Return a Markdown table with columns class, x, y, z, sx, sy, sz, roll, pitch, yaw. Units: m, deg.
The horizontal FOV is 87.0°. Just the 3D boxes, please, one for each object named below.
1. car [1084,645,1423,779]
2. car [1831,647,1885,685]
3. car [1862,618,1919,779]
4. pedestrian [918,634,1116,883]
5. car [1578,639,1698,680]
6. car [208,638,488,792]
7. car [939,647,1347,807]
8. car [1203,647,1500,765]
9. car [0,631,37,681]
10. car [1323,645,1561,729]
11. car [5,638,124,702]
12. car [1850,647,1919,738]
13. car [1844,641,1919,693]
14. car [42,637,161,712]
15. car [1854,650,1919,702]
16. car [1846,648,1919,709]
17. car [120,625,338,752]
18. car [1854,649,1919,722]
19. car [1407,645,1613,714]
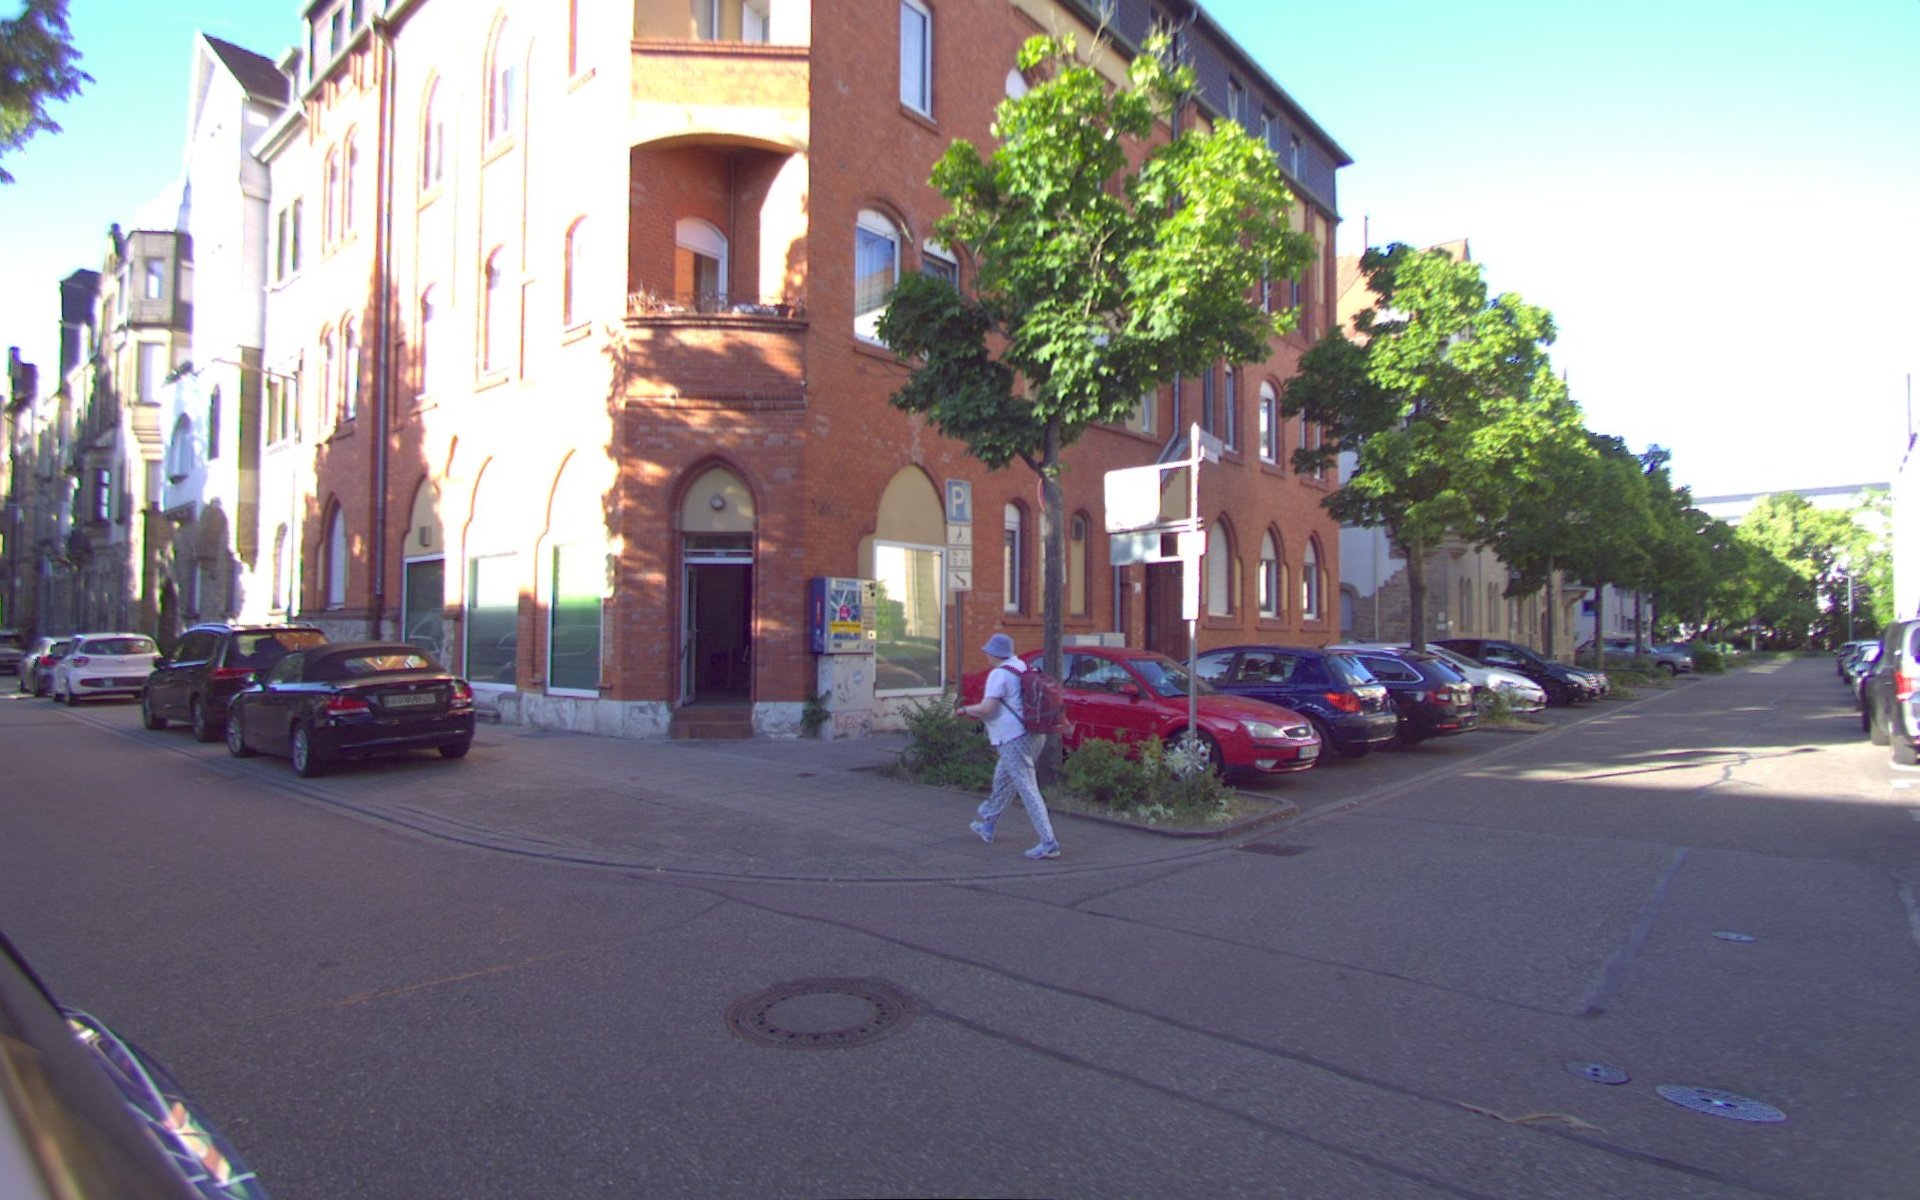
| class | x | y | z | sx | sy | sz | roll | pitch | yaw |
| --- | --- | --- | --- | --- | --- | --- | --- | --- | --- |
| car | 3.941 | 1.424 | 14.048 | 4.210 | 1.562 | 1.695 | -2 | -4 | 41 |
| car | 42.746 | 3.130 | 48.225 | 1.651 | 1.744 | 3.369 | -6 | -6 | 39 |
| car | 13.305 | 1.182 | 13.230 | 1.865 | 1.881 | 4.666 | -6 | -6 | 38 |
| pedestrian | 0.415 | 1.084 | 7.373 | 1.053 | 1.589 | 0.878 | 2 | -2 | 41 |
| car | 29.668 | 2.596 | 44.344 | 4.209 | 1.713 | 1.695 | -2 | -4 | 40 |
| car | -7.383 | 1.212 | 12.022 | 4.331 | 1.421 | 1.618 | -1 | 0 | 41 |
| car | 2.001 | 1.347 | 12.109 | 4.656 | 1.480 | 1.618 | -1 | -2 | 41 |
| car | 5.888 | 1.506 | 15.474 | 3.913 | 1.523 | 1.695 | -1 | -3 | 41 |
| car | -34.496 | 1.979 | 36.084 | 4.337 | 1.730 | 1.856 | -2 | -2 | 41 |
| car | 10.017 | 1.749 | 21.231 | 4.210 | 1.562 | 1.695 | -2 | -4 | 41 |
| car | -22.663 | 1.712 | 25.562 | 4.108 | 1.454 | 1.659 | -2 | -2 | 40 |
| car | 17.188 | 1.595 | 18.122 | 1.600 | 1.485 | 3.851 | -6 | -6 | 38 |
| car | 32.792 | 2.381 | 36.098 | 1.651 | 1.744 | 3.370 | -6 | -6 | 39 |
| car | -18.741 | 1.572 | 22.050 | 3.591 | 1.481 | 1.549 | -3 | -3 | 43 |
| car | 27.454 | 2.212 | 29.763 | 1.486 | 1.416 | 3.370 | -6 | -6 | 38 |
| car | 23.375 | 1.946 | 25.373 | 1.486 | 1.416 | 3.370 | -6 | -6 | 38 |
| car | -11.287 | 1.231 | 15.515 | 4.346 | 1.693 | 1.652 | -1 | -2 | 39 |
| car | 19.979 | 1.756 | 21.302 | 1.486 | 1.416 | 3.370 | -6 | -6 | 38 |
| car | 13.565 | 1.916 | 25.102 | 4.211 | 1.562 | 1.695 | -2 | -4 | 42 |
